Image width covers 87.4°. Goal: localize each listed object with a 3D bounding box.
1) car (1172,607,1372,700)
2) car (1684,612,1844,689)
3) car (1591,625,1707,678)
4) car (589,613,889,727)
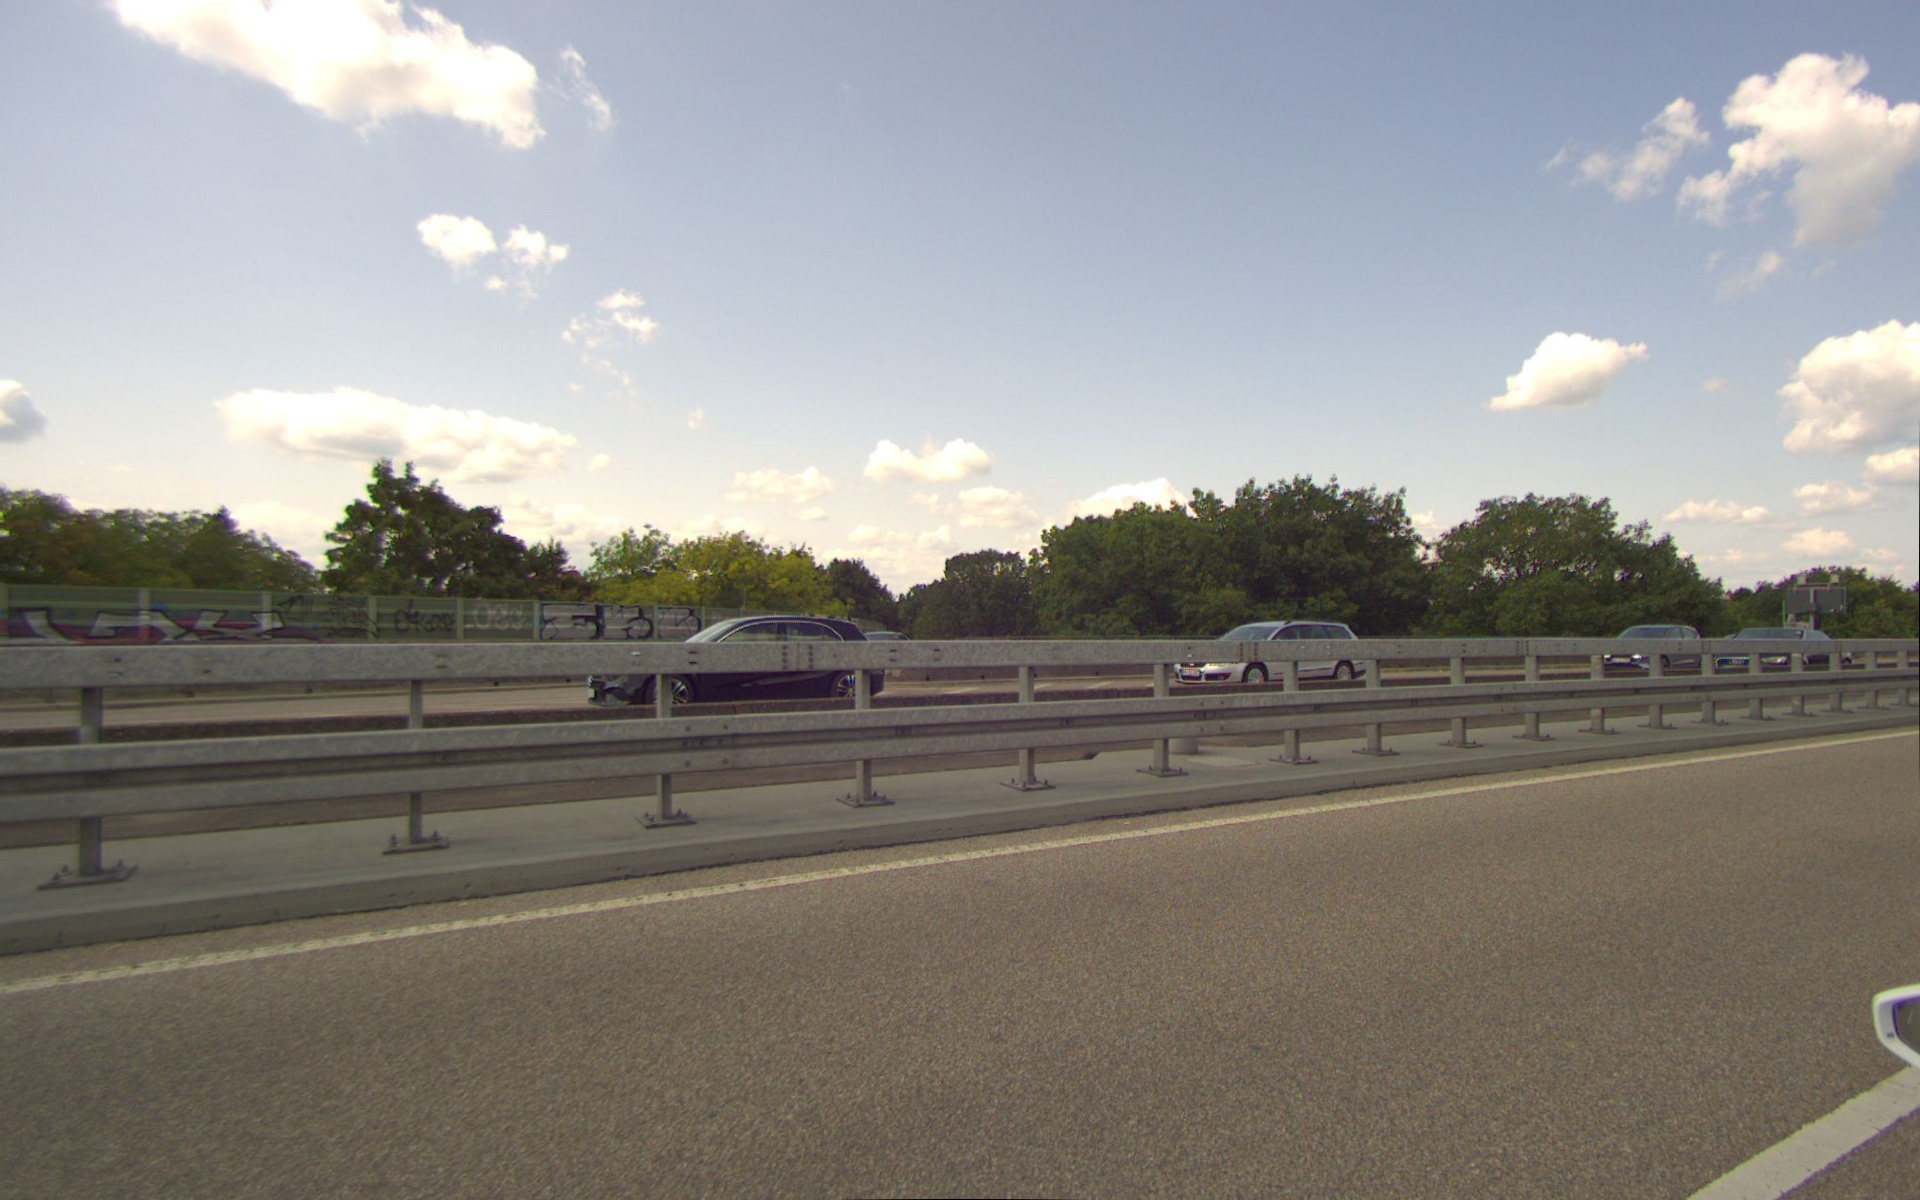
[{"bbox_3d":[6.604,1.041,21.100,4.362,1.734,1.573,0,1,-33],"label":"car"},{"bbox_3d":[18.537,1.116,23.110,4.017,1.593,1.665,1,1,-33],"label":"car"},{"bbox_3d":[20.634,1.530,30.073,3.592,1.494,1.589,1,-3,-33],"label":"car"},{"bbox_3d":[-3.233,0.935,14.898,4.003,1.408,1.774,0,1,-33],"label":"car"}]
